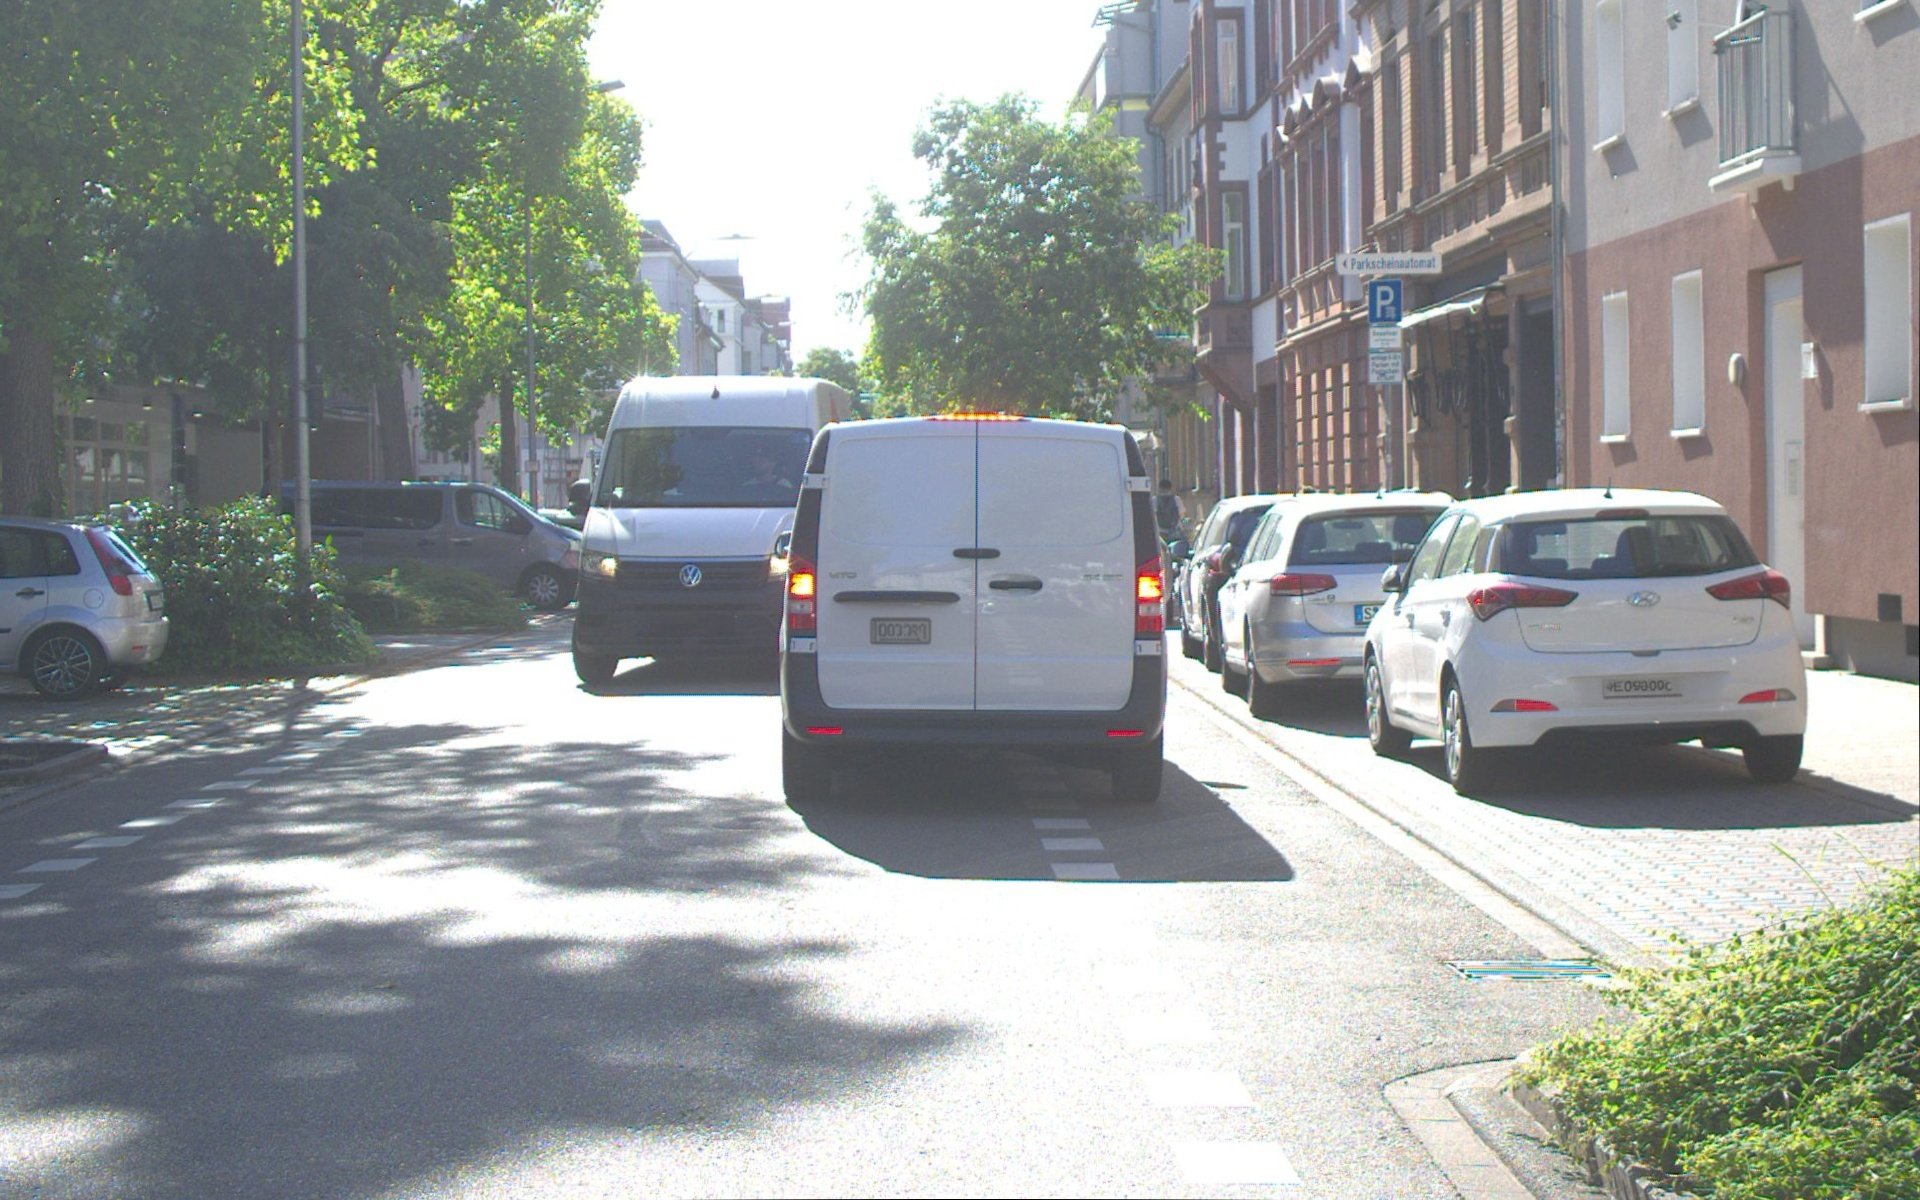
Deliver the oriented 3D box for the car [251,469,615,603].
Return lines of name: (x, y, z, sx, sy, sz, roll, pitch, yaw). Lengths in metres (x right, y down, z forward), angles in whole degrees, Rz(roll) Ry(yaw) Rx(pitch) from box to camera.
car: (-8.022, -0.995, 52.672, 5.292, 1.967, 2.016, 1, 2, -1)

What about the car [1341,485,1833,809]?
car: (3.217, 0.167, 18.362, 1.731, 1.481, 3.795, -2, 2, -2)

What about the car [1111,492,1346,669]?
car: (2.351, -0.216, 30.918, 1.709, 1.475, 3.711, -1, 2, -1)

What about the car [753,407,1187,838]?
car: (0.045, 0.020, 17.763, 1.920, 1.907, 4.888, 0, 2, 0)

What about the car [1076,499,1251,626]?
car: (2.432, -0.497, 41.967, 1.738, 1.446, 4.001, -1, 2, -2)

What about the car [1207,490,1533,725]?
car: (2.799, -0.021, 24.384, 1.786, 1.455, 4.517, -2, 2, 1)

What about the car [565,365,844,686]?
car: (-2.098, -0.689, 30.022, 1.993, 2.465, 6.605, -1, 2, -1)

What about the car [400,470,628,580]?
car: (-8.467, -1.441, 65.447, 3.987, 2.006, 2.000, 1, 2, 3)

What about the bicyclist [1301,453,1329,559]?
bicyclist: (4.959, -1.316, 48.004, 0.361, 1.472, 0.530, 0, 1, 4)

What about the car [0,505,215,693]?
car: (-8.200, -0.013, 27.762, 3.986, 1.452, 1.861, -1, 2, -2)
